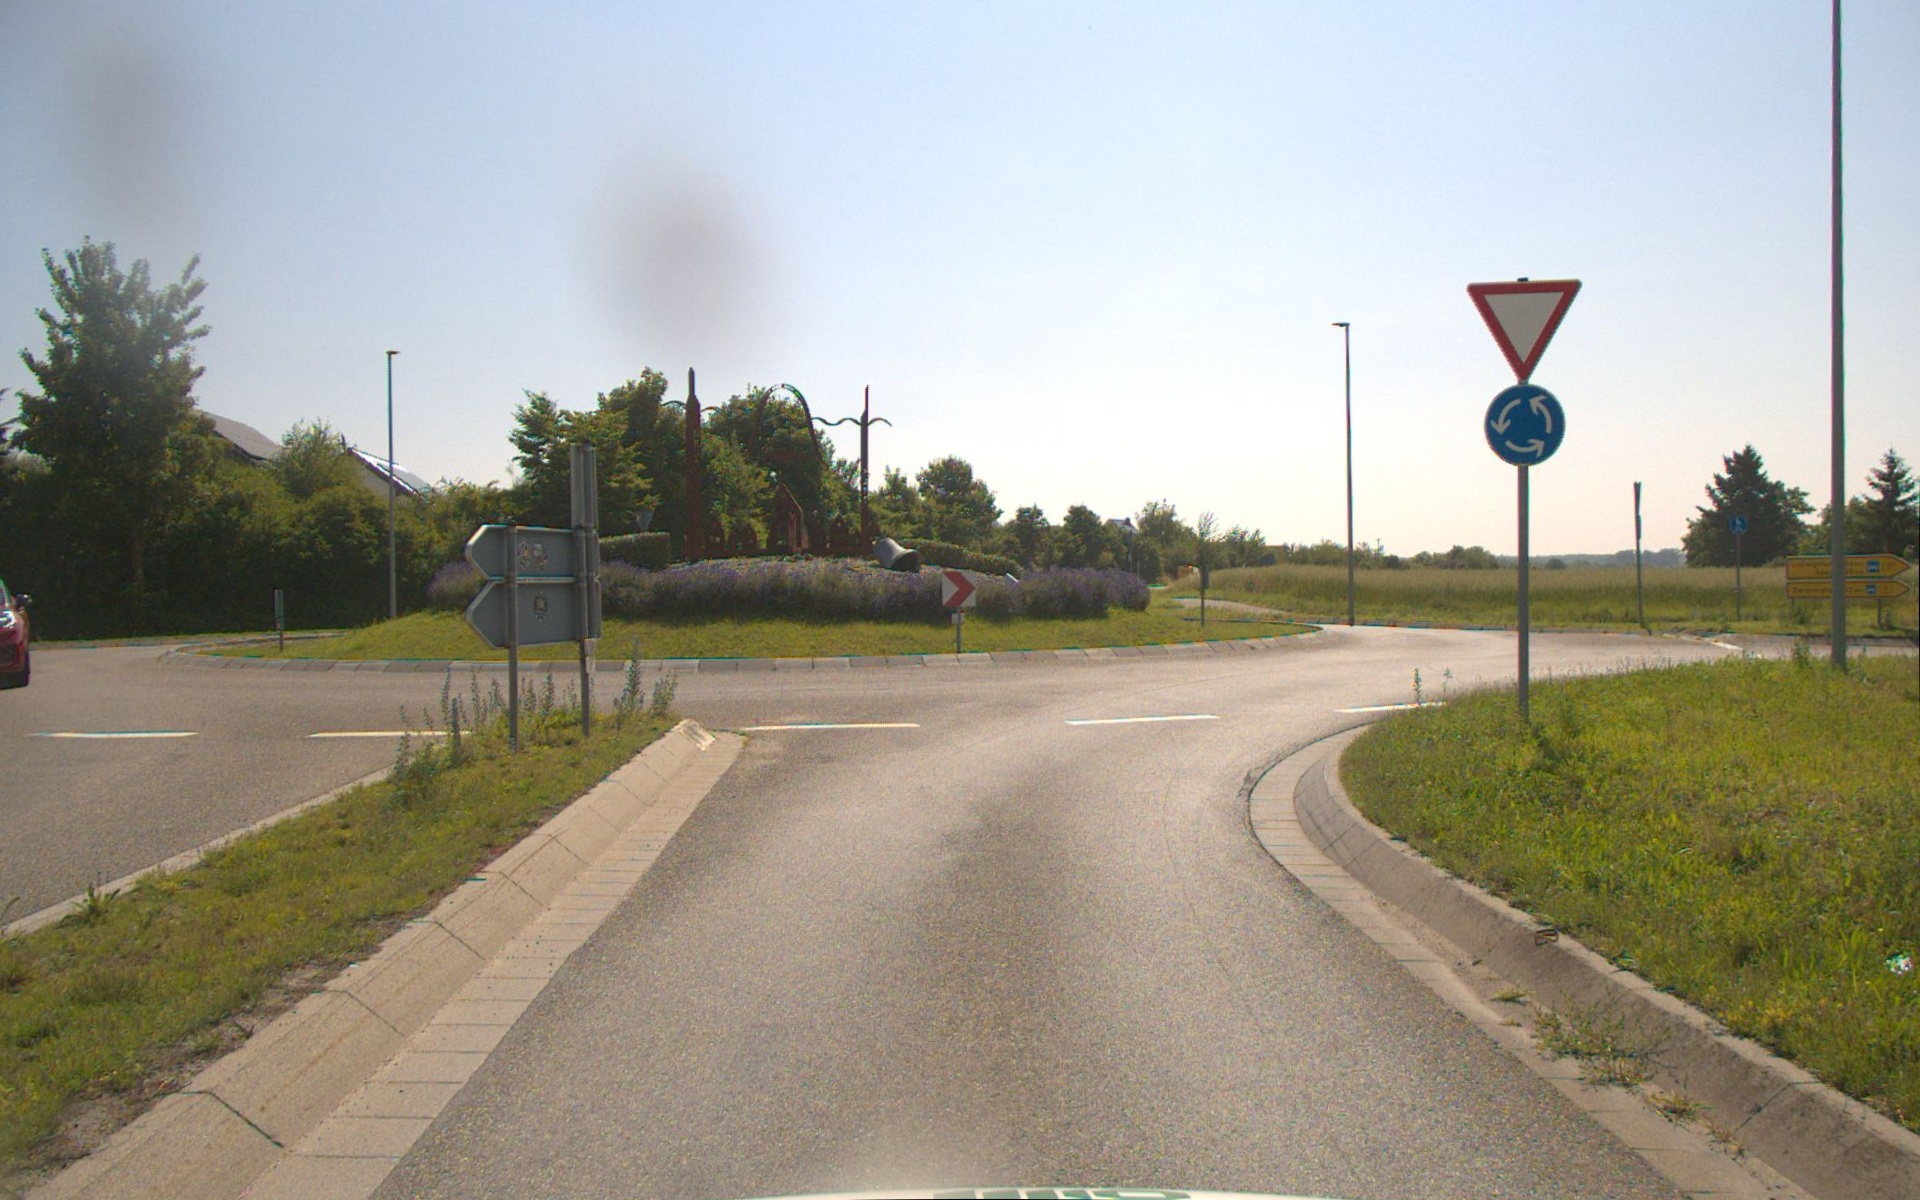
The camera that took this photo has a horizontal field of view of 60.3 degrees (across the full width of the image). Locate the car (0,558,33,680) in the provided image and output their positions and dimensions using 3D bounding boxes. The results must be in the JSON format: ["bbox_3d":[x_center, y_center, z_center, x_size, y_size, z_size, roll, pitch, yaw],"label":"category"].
[{"bbox_3d":[-13.636,0.235,22.488,1.726,1.549,3.794,-3,3,-29],"label":"car"}]
